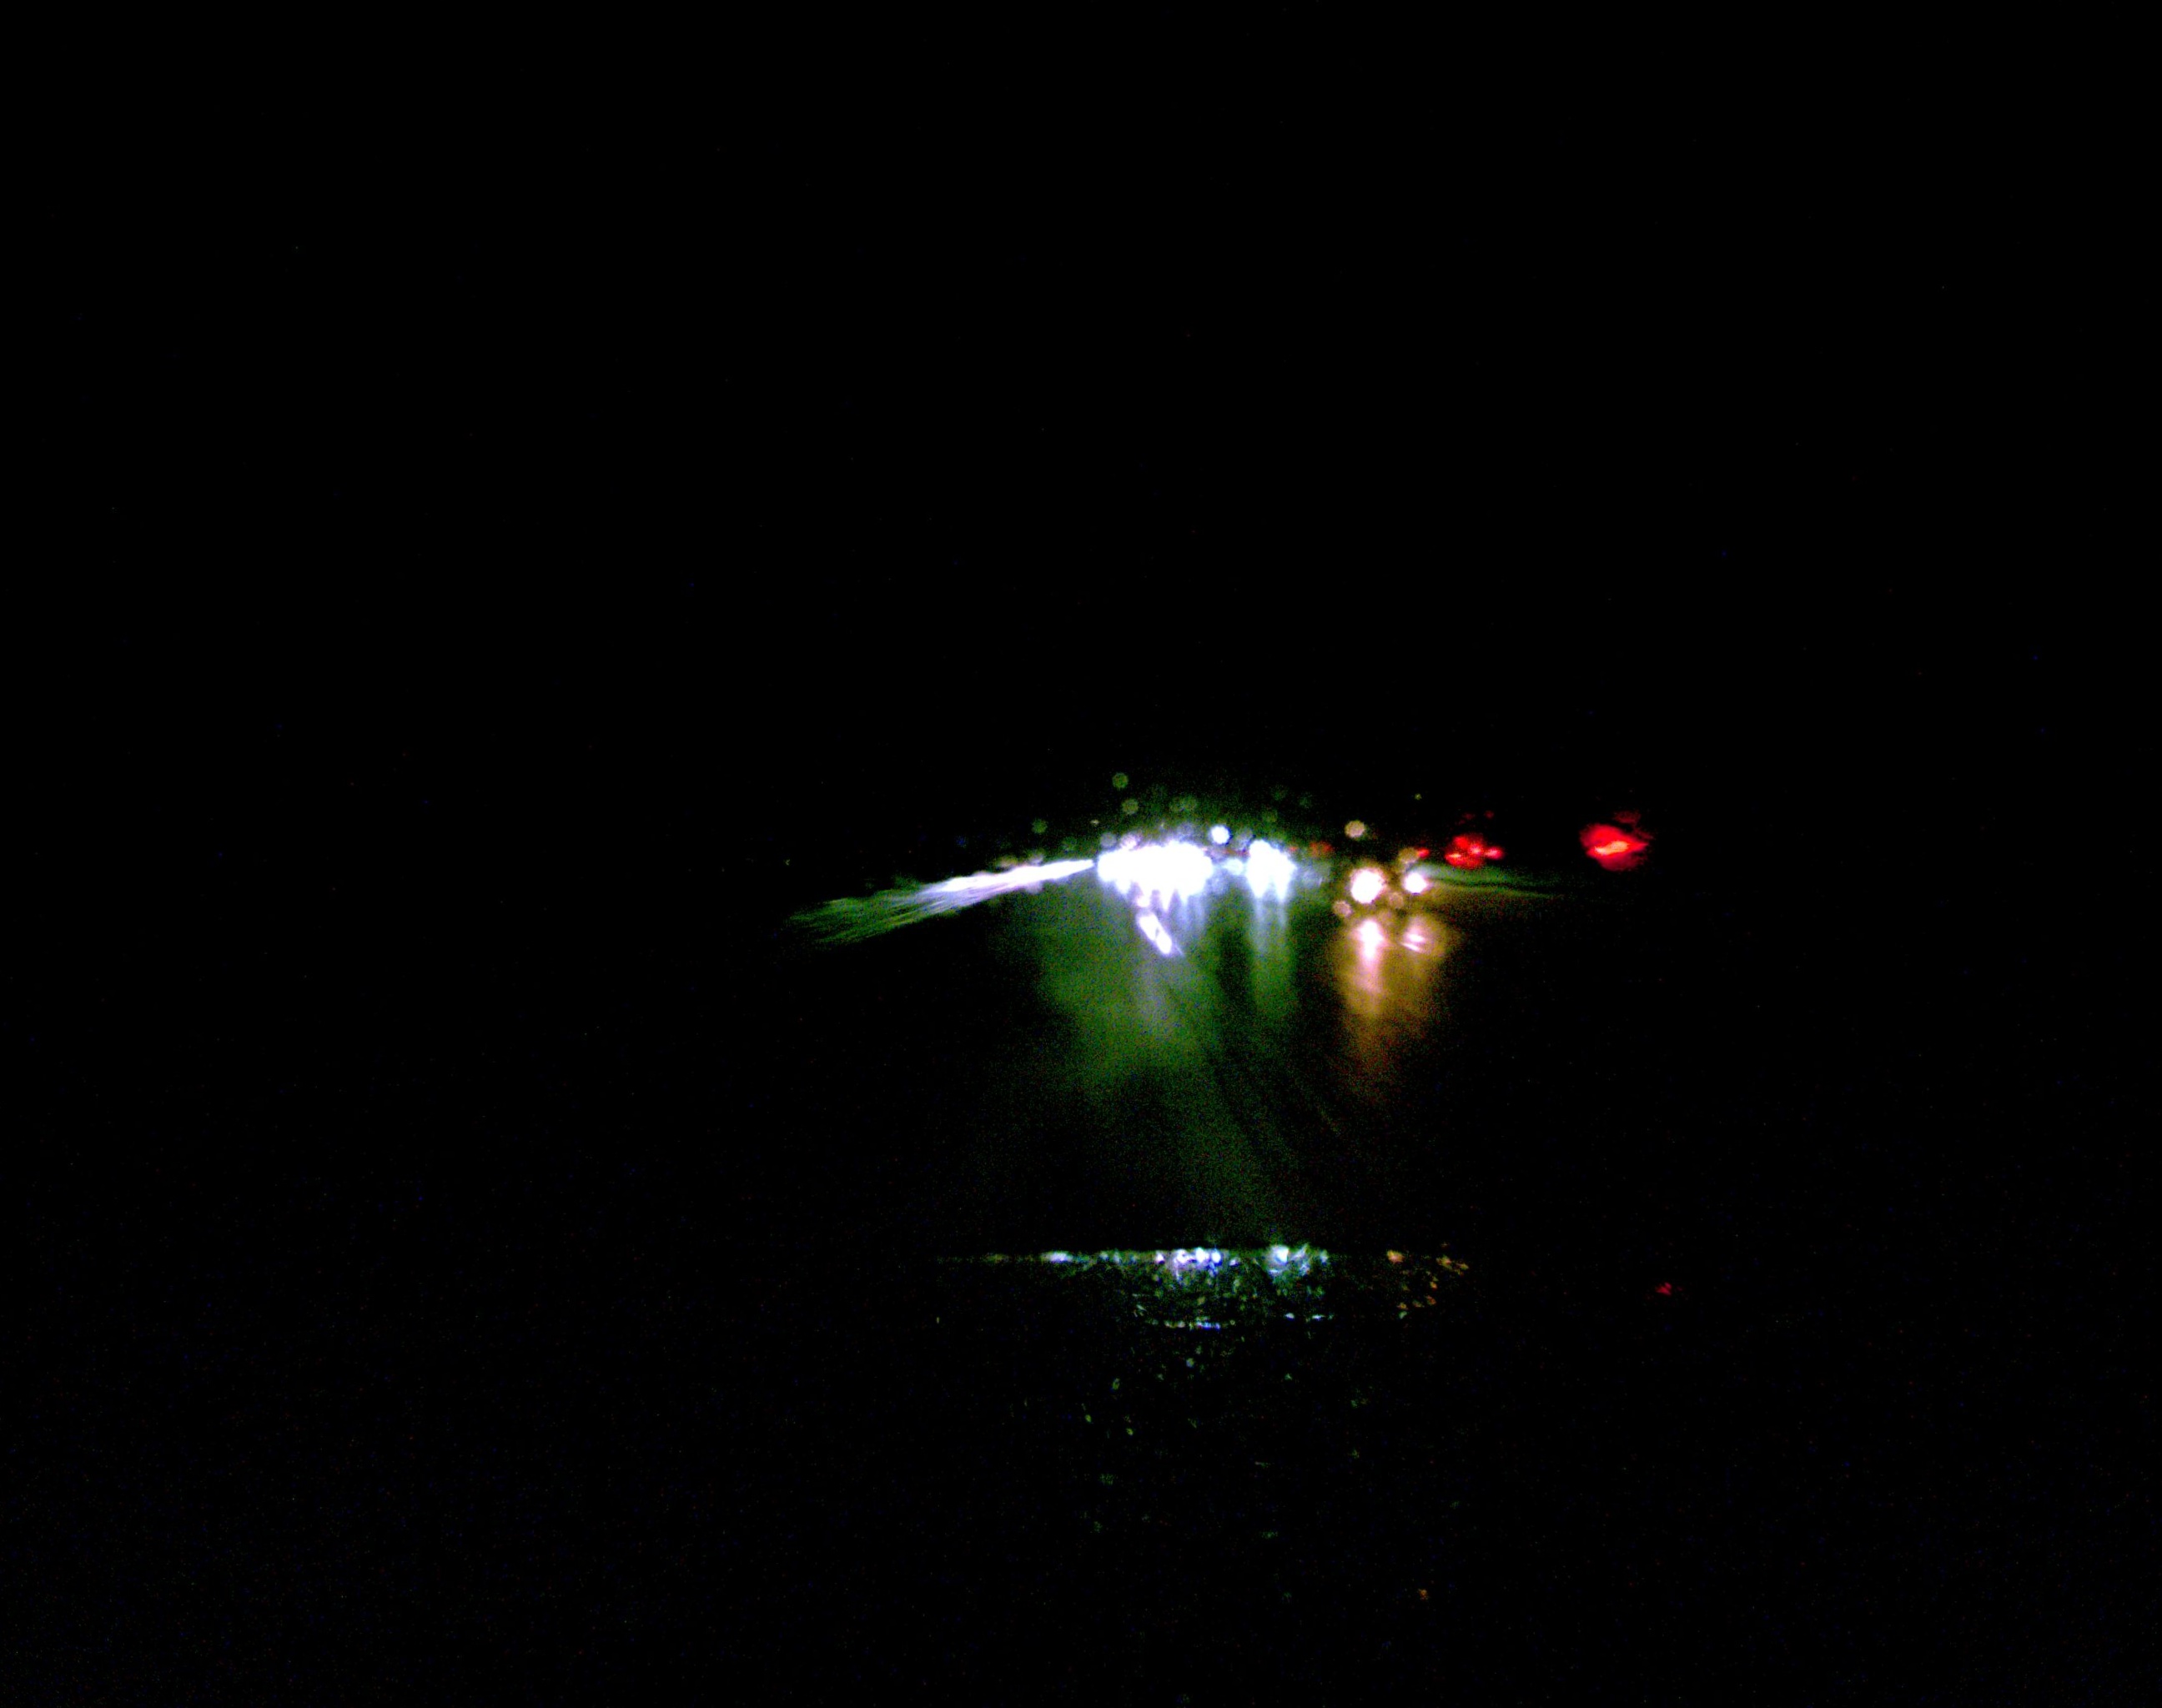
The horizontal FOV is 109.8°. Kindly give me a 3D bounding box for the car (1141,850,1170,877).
[{"bbox_3d":[5.873,0.709,60.009,1.998,2.002,4.000,-2,1,3],"label":"car"}]

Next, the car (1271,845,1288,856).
[{"bbox_3d":[30.782,-0.506,117.878,1.780,1.587,4.001,-4,1,5],"label":"car"}]

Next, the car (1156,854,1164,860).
[{"bbox_3d":[21.980,0.752,211.043,1.998,1.379,4.002,-4,0,6],"label":"car"}]

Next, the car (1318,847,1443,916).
[{"bbox_3d":[7.887,0.696,20.465,1.920,1.585,4.235,-2,-1,4],"label":"car"}]

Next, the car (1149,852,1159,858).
[{"bbox_3d":[15.433,0.190,160.829,1.997,1.149,4.001,-2,1,7],"label":"car"}]

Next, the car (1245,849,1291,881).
[{"bbox_3d":[12.874,0.699,52.678,2.143,2.002,4.528,-2,1,2],"label":"car"}]

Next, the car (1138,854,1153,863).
[{"bbox_3d":[8.686,0.604,102.117,1.998,1.149,4.001,-2,1,6],"label":"car"}]

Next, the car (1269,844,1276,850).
[{"bbox_3d":[61.189,-2.270,243.038,1.779,1.586,4.002,-4,0,7],"label":"car"}]

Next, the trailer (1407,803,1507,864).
[{"bbox_3d":[35.125,-1.843,71.926,3.272,5.039,13.973,-2,1,4],"label":"trailer"}]

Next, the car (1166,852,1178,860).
[{"bbox_3d":[14.858,0.340,123.955,1.692,1.149,3.421,-2,1,5],"label":"car"}]

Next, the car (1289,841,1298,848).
[{"bbox_3d":[54.815,-2.503,196.230,1.779,1.586,4.002,-4,0,8],"label":"car"}]

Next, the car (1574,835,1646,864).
[{"bbox_3d":[33.185,-0.295,47.798,1.780,1.587,4.225,-4,1,6],"label":"car"}]

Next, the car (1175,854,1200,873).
[{"bbox_3d":[9.994,0.860,71.423,1.998,1.667,4.001,-2,1,5],"label":"car"}]

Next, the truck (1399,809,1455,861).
[{"bbox_3d":[35.538,-1.923,78.311,3.272,5.039,6.028,-2,1,4],"label":"truck"}]

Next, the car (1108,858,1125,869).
[{"bbox_3d":[4.422,1.197,94.175,1.998,1.149,4.001,-2,1,5],"label":"car"}]

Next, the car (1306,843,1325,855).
[{"bbox_3d":[33.678,-0.680,109.184,1.780,1.587,4.001,-4,1,4],"label":"car"}]

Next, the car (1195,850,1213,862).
[{"bbox_3d":[18.164,0.330,112.064,2.309,1.600,3.872,-2,1,5],"label":"car"}]
